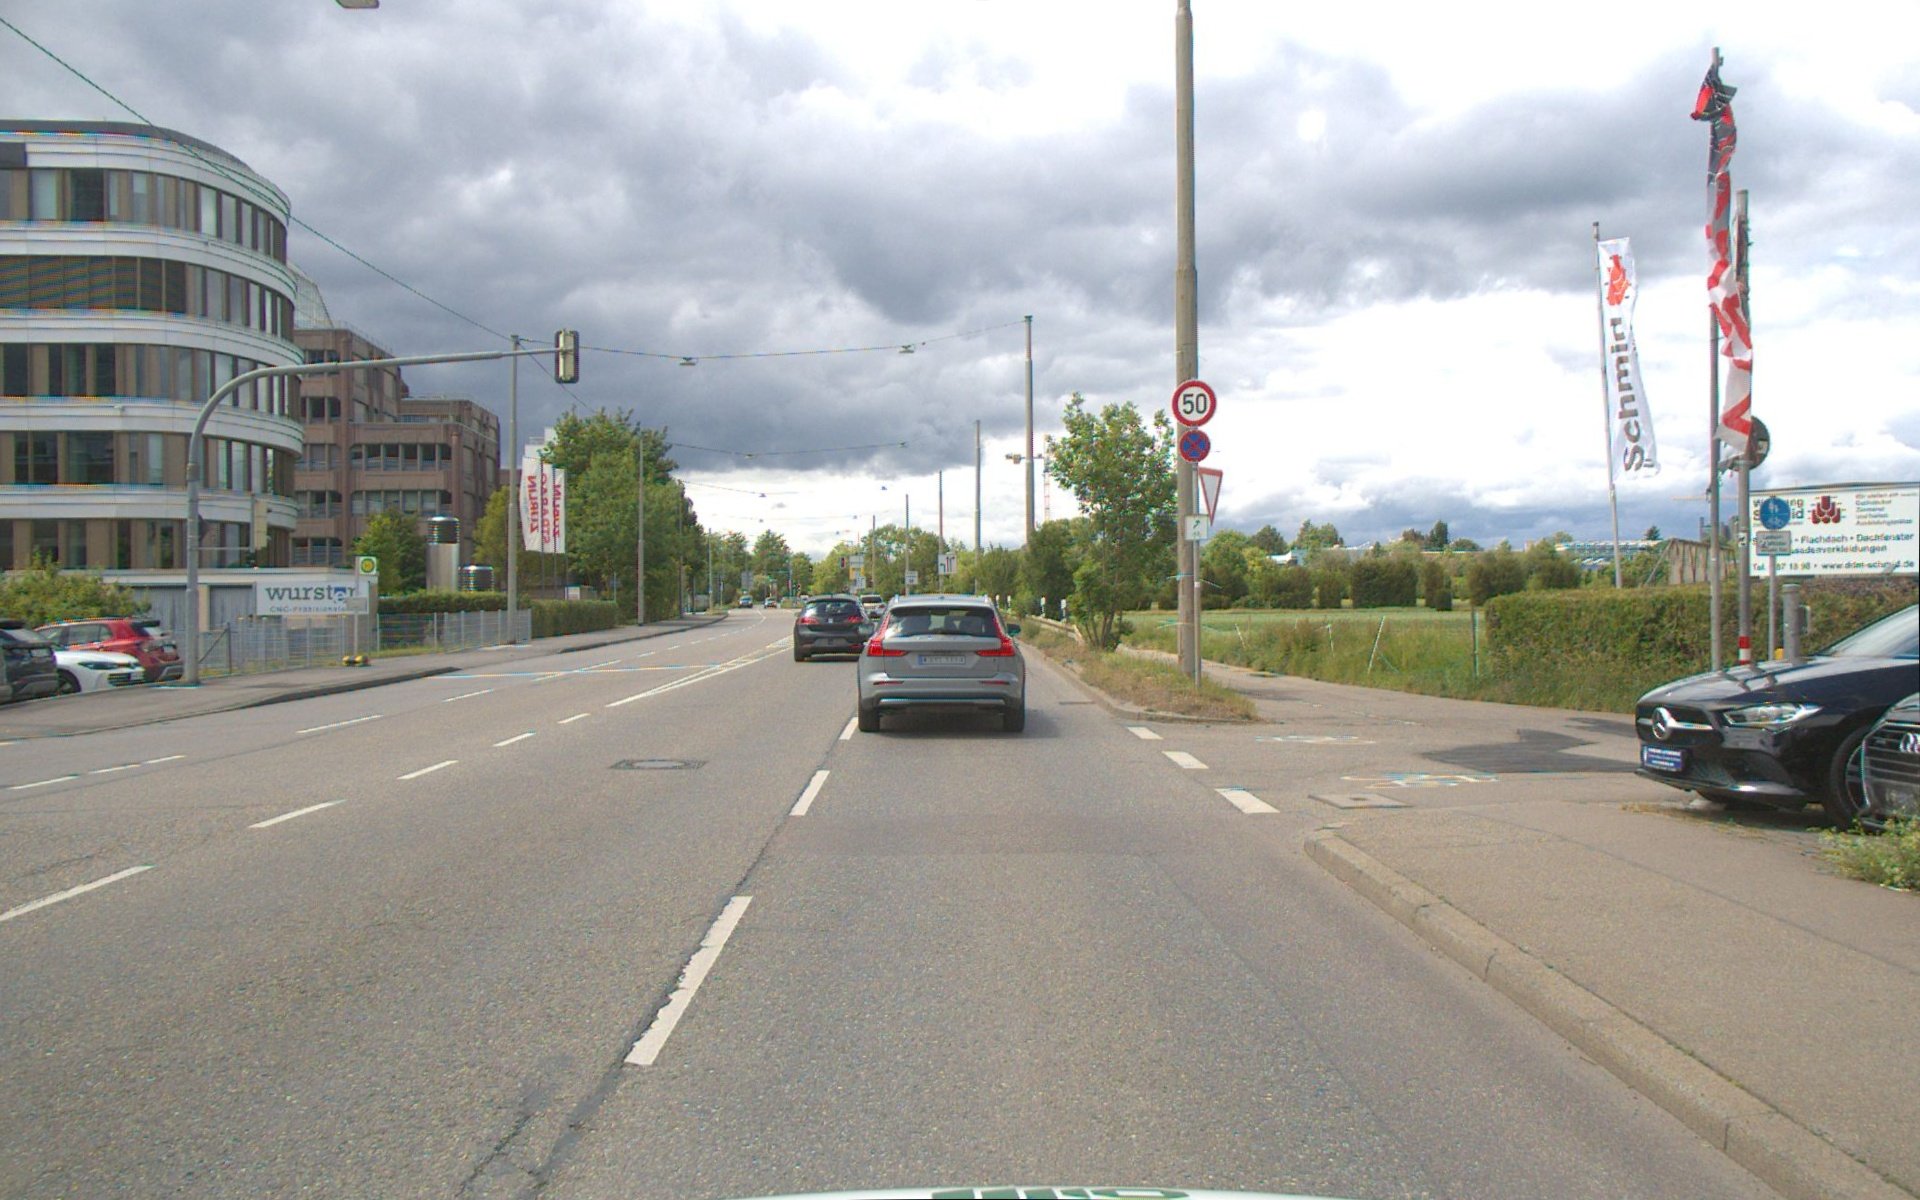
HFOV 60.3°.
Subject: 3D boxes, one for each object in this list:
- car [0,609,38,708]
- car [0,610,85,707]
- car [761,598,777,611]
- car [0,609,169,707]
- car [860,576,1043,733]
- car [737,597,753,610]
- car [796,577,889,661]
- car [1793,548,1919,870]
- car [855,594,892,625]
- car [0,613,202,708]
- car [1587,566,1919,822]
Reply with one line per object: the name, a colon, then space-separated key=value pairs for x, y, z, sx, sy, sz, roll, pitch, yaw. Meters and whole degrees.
car: x=-15.980 y=1.081 z=23.978 sx=4.019 sy=1.421 sz=1.904 roll=-7 pitch=1 yaw=-9
car: x=-16.519 y=1.118 z=26.472 sx=3.910 sy=1.449 sz=1.854 roll=-7 pitch=0 yaw=-4
car: x=-25.560 y=0.606 z=221.938 sx=1.844 sy=1.547 sz=3.997 roll=1 pitch=-1 yaw=-3
car: x=-16.407 y=1.114 z=28.858 sx=4.146 sy=1.410 sz=1.981 roll=-7 pitch=0 yaw=-7
car: x=-0.093 y=0.588 z=19.080 sx=1.857 sy=1.581 sz=3.999 roll=1 pitch=-1 yaw=0
car: x=-28.983 y=0.490 z=223.226 sx=1.844 sy=1.747 sz=3.997 roll=1 pitch=-1 yaw=-3
car: x=-2.626 y=0.431 z=37.453 sx=1.954 sy=1.747 sz=3.997 roll=1 pitch=-1 yaw=-4
car: x=6.723 y=0.541 z=7.614 sx=4.753 sy=1.455 sz=2.038 roll=1 pitch=0 yaw=-1
car: x=-4.906 y=0.550 z=94.170 sx=1.953 sy=1.724 sz=3.998 roll=1 pitch=-1 yaw=-2
car: x=-16.904 y=1.183 z=31.543 sx=3.910 sy=1.393 sz=1.847 roll=-7 pitch=0 yaw=-4
car: x=6.442 y=0.589 z=10.399 sx=4.235 sy=1.423 sz=2.002 roll=1 pitch=-2 yaw=-4
